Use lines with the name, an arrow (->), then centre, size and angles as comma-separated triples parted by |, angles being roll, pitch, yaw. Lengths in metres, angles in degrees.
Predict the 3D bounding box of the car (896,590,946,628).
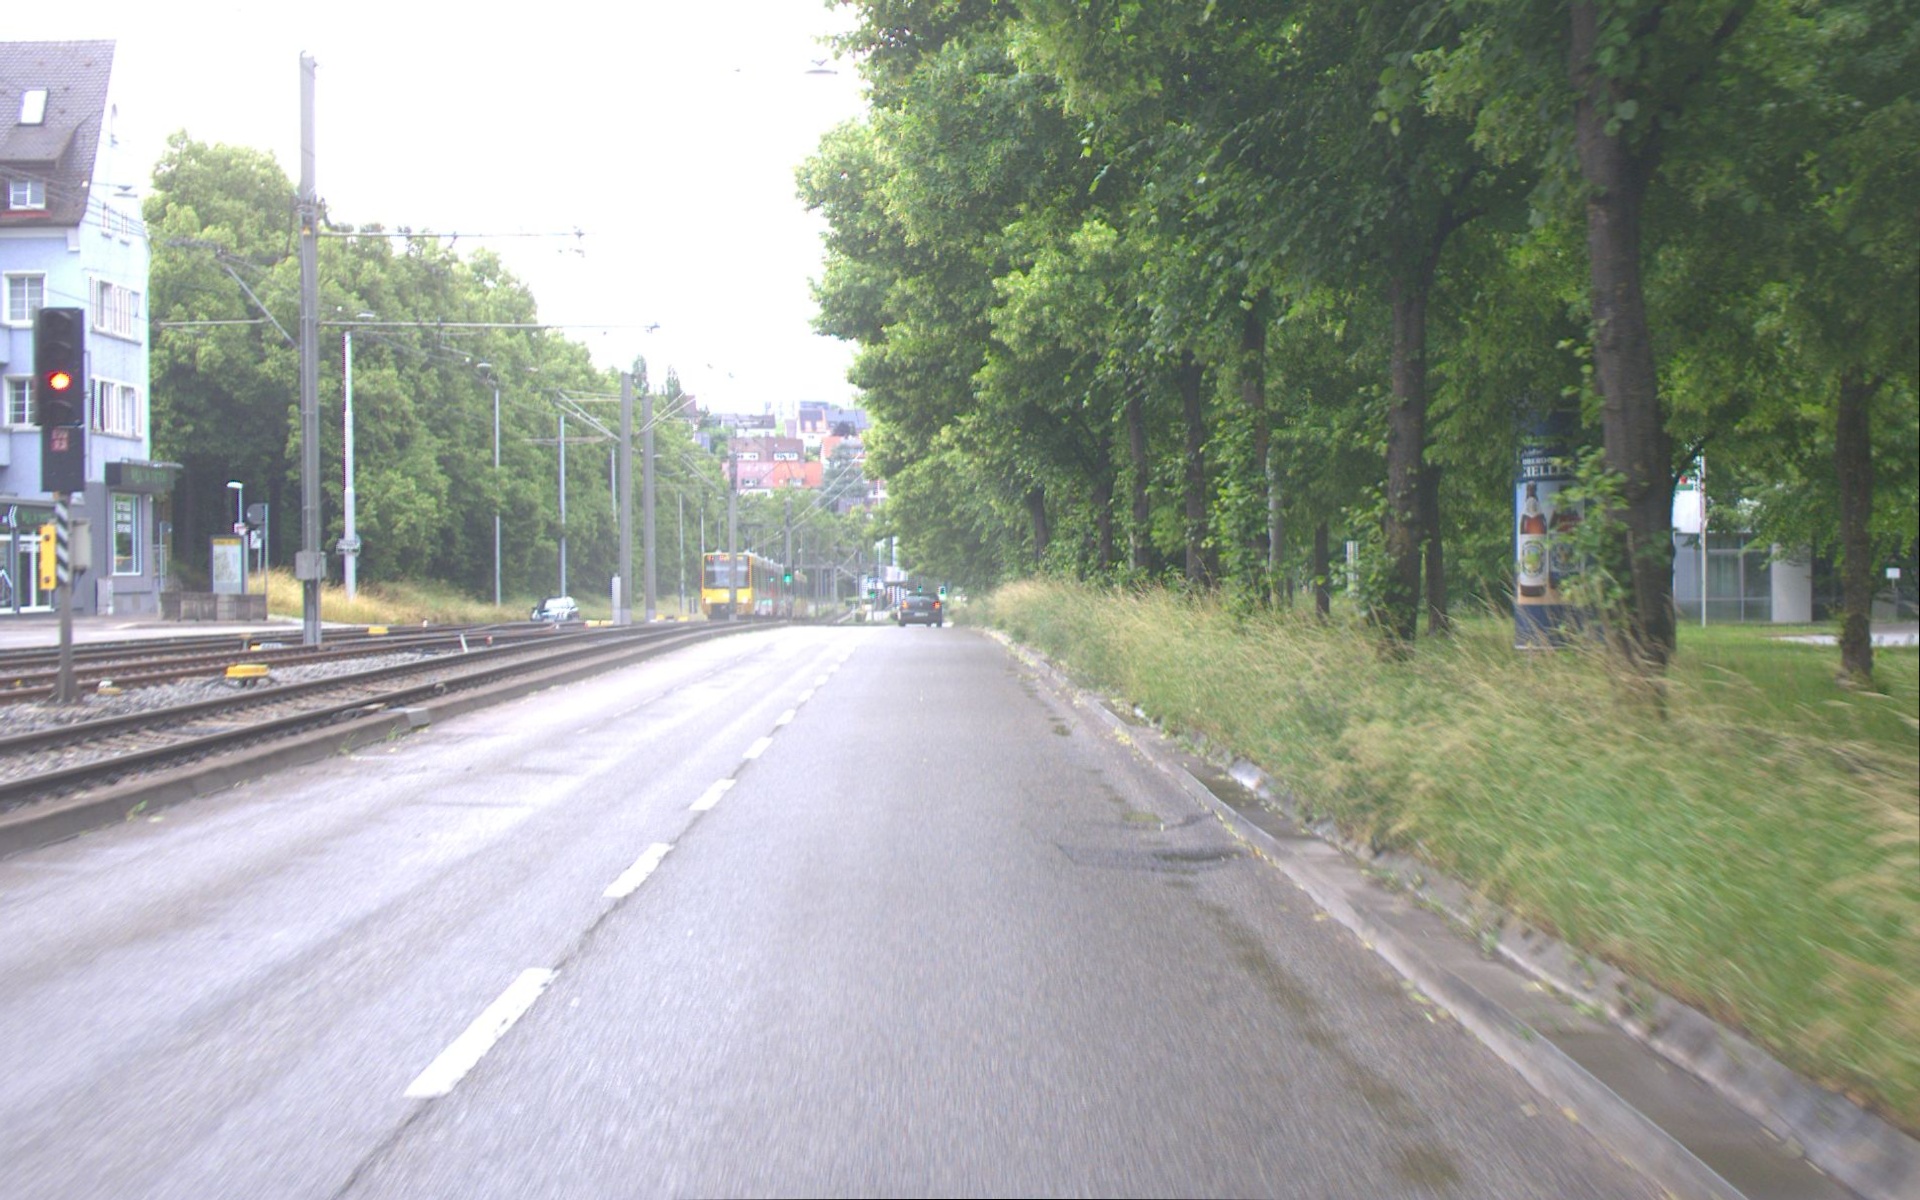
car -> -1.542, 0.336, 136.918 | 1.982, 1.436, 4.474 | 0, 1, 0

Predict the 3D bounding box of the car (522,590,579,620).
car -> -18.323, 0.243, 153.827 | 1.902, 1.320, 4.826 | 0, 0, 1

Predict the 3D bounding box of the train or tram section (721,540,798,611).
train or tram section -> -11.065, -1.291, 191.574 | 3.214, 3.783, 14.789 | 0, 0, 1

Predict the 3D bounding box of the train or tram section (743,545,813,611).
train or tram section -> -10.862, -1.268, 206.465 | 3.214, 3.783, 14.789 | 0, 0, 1

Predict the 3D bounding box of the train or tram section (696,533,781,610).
train or tram section -> -11.285, -1.383, 176.739 | 3.214, 3.783, 14.789 | 0, 0, 1
